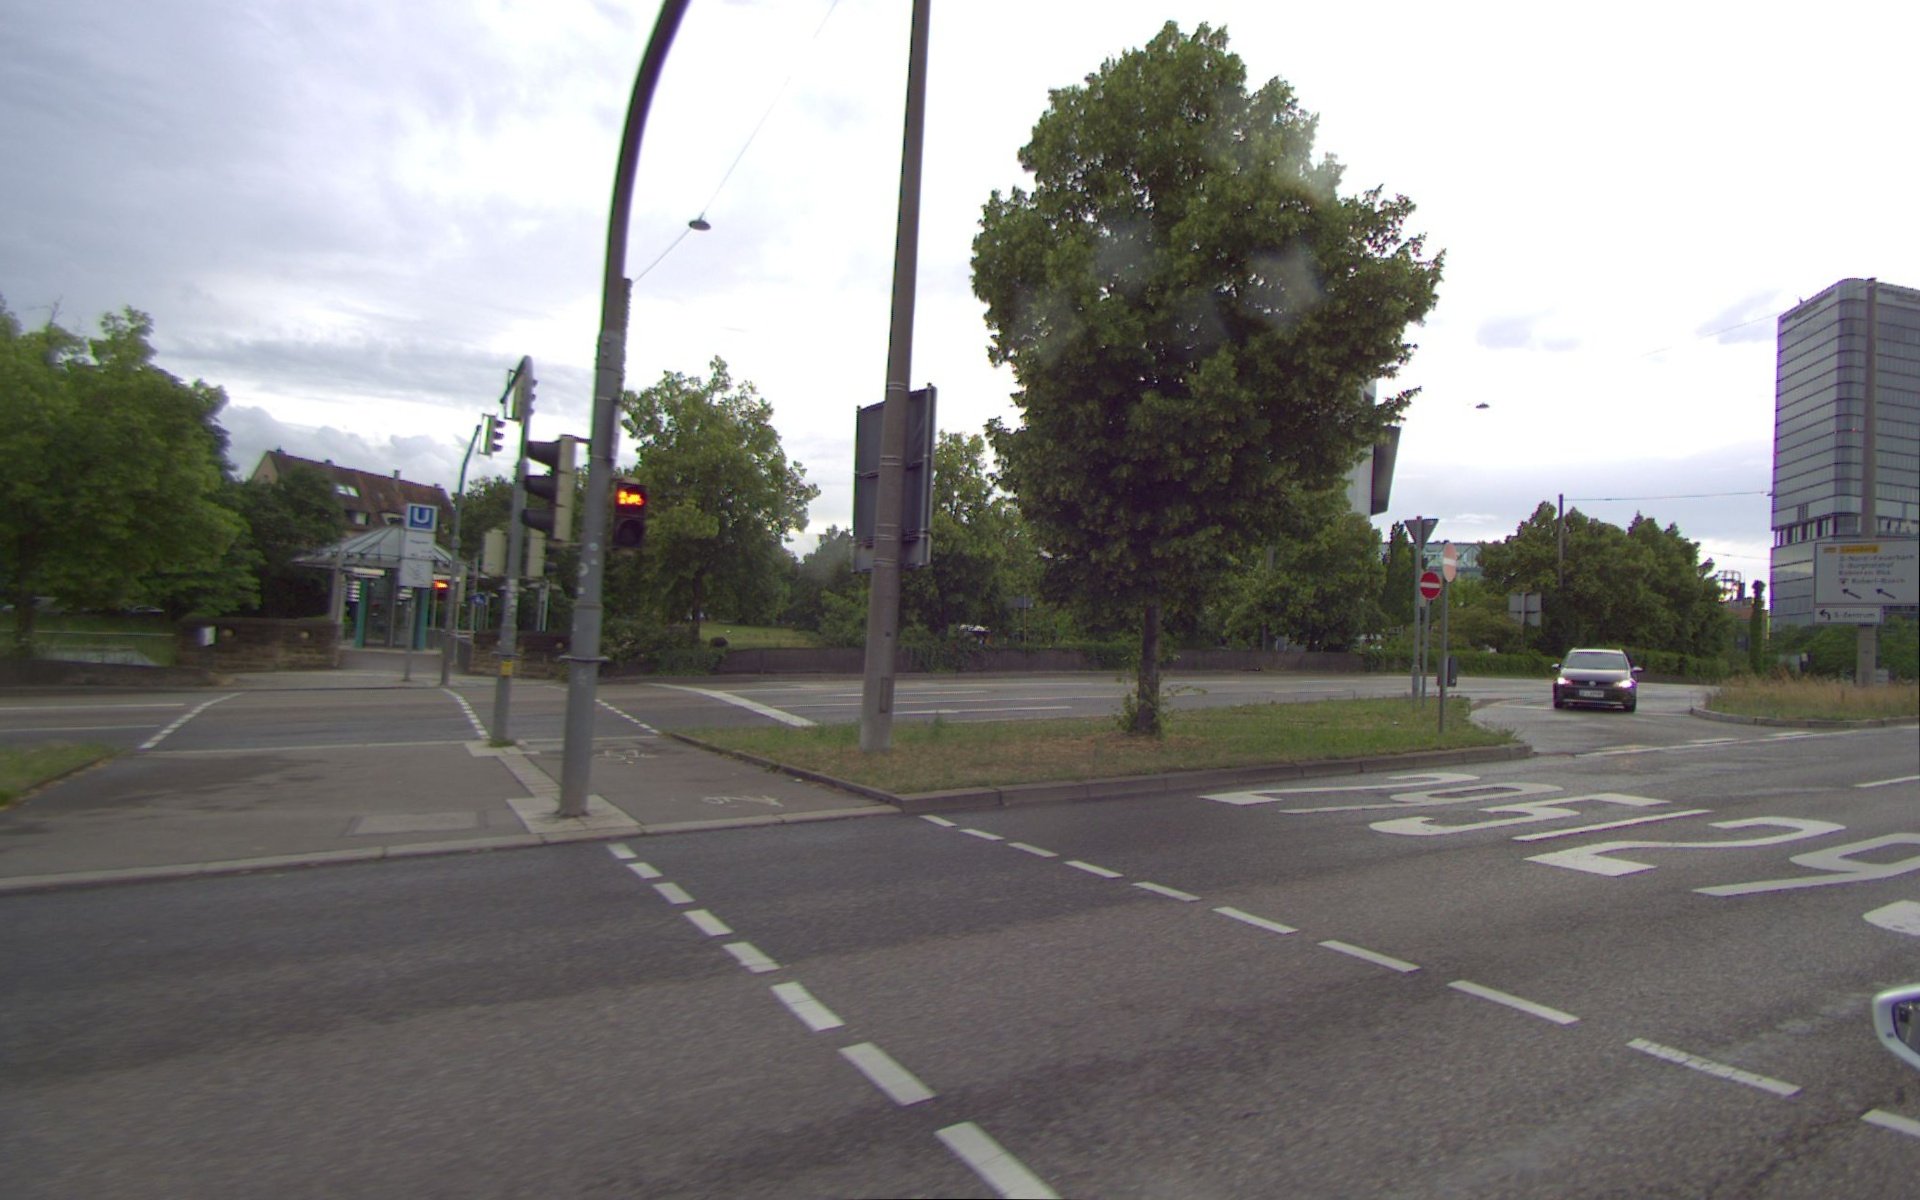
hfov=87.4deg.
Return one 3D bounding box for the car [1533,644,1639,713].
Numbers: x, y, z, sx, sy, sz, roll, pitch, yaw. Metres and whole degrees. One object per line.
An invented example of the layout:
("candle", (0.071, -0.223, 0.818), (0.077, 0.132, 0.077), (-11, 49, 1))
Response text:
("car", (15.578, 1.881, 24.912), (1.866, 1.527, 3.985), (0, -3, 37))
